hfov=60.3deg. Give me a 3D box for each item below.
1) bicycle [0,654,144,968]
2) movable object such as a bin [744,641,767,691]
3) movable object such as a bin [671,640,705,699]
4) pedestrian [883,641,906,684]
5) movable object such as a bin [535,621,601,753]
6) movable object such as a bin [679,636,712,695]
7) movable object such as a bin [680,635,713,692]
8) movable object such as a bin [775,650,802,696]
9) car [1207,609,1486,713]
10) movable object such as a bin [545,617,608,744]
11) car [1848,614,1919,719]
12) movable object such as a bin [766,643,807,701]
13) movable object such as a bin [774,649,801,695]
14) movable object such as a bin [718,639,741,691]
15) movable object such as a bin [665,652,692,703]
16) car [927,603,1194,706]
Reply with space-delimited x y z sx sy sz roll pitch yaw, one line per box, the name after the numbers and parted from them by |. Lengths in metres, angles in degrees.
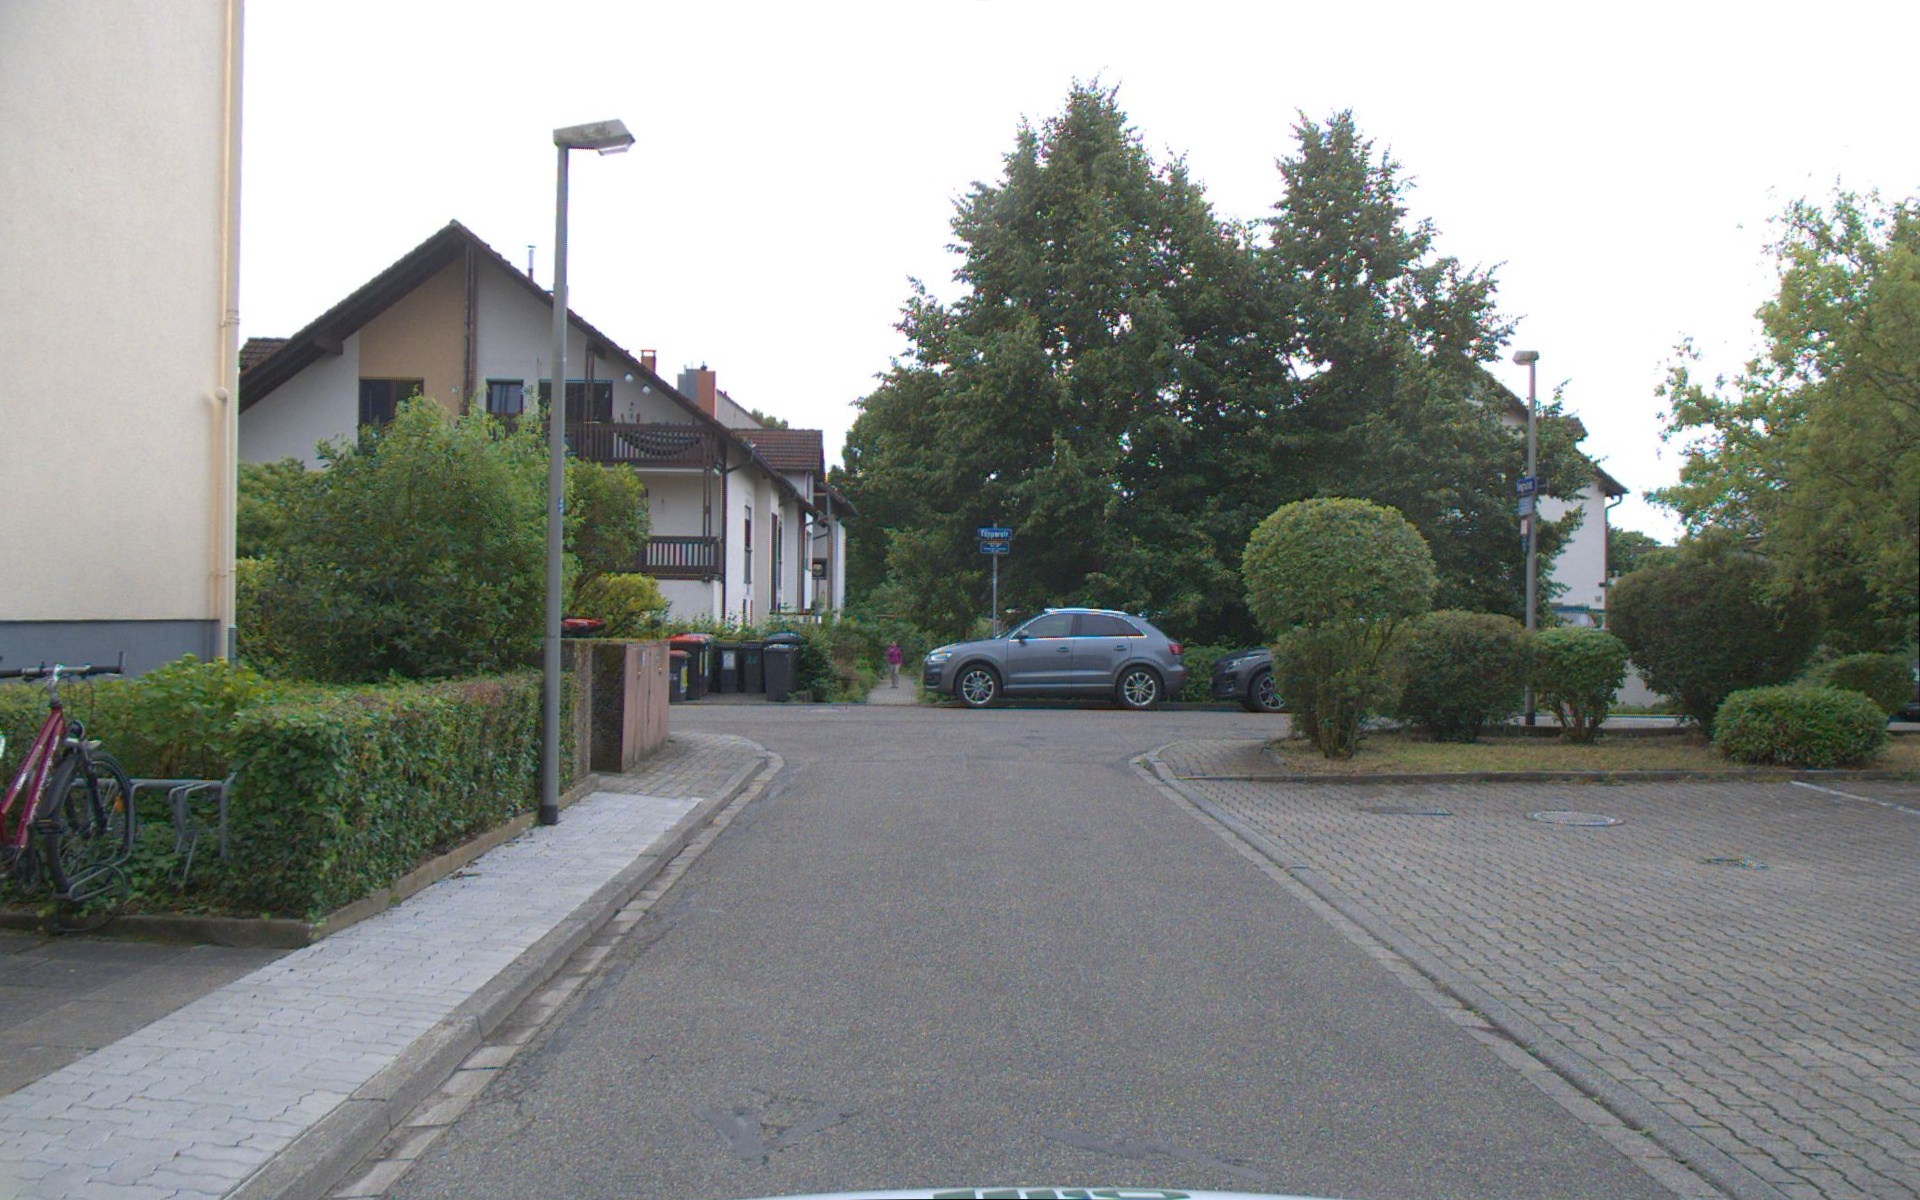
-3.570 0.767 6.191 0.311 1.094 1.417 1 -1 -1 | bicycle
-3.718 1.199 30.122 0.378 0.905 0.379 1 -1 -4 | movable object such as a bin
-4.714 1.201 28.701 0.526 1.011 0.379 1 -1 -4 | movable object such as a bin
-2.335 2.232 59.260 0.799 1.544 0.438 0 -1 -4 | pedestrian
-3.657 0.801 15.454 0.495 1.208 0.515 -1 -1 -3 | movable object such as a bin
-4.710 1.163 29.435 0.526 1.011 0.337 1 -1 -4 | movable object such as a bin
-4.760 1.147 29.888 0.526 1.011 0.337 1 -1 -4 | movable object such as a bin
-3.151 1.339 30.365 0.450 0.811 0.379 1 -1 -4 | movable object such as a bin
6.071 0.970 26.329 4.094 1.558 1.748 0 -2 3 | car
-3.734 0.772 16.115 0.495 1.208 0.515 -1 -1 -3 | movable object such as a bin
16.808 1.082 26.253 4.444 1.622 1.763 1 -3 1 | car
-3.001 1.240 28.604 0.625 0.970 0.722 1 -1 -2 | movable object such as a bin
-3.123 1.303 29.955 0.450 0.811 0.379 1 -1 -4 | movable object such as a bin
-4.192 1.178 30.092 0.378 0.917 0.379 1 -1 -4 | movable object such as a bin
-4.793 1.314 28.176 0.378 0.851 0.379 1 -1 -4 | movable object such as a bin
1.554 0.884 26.621 4.151 1.558 1.746 1 -2 -2 | car
